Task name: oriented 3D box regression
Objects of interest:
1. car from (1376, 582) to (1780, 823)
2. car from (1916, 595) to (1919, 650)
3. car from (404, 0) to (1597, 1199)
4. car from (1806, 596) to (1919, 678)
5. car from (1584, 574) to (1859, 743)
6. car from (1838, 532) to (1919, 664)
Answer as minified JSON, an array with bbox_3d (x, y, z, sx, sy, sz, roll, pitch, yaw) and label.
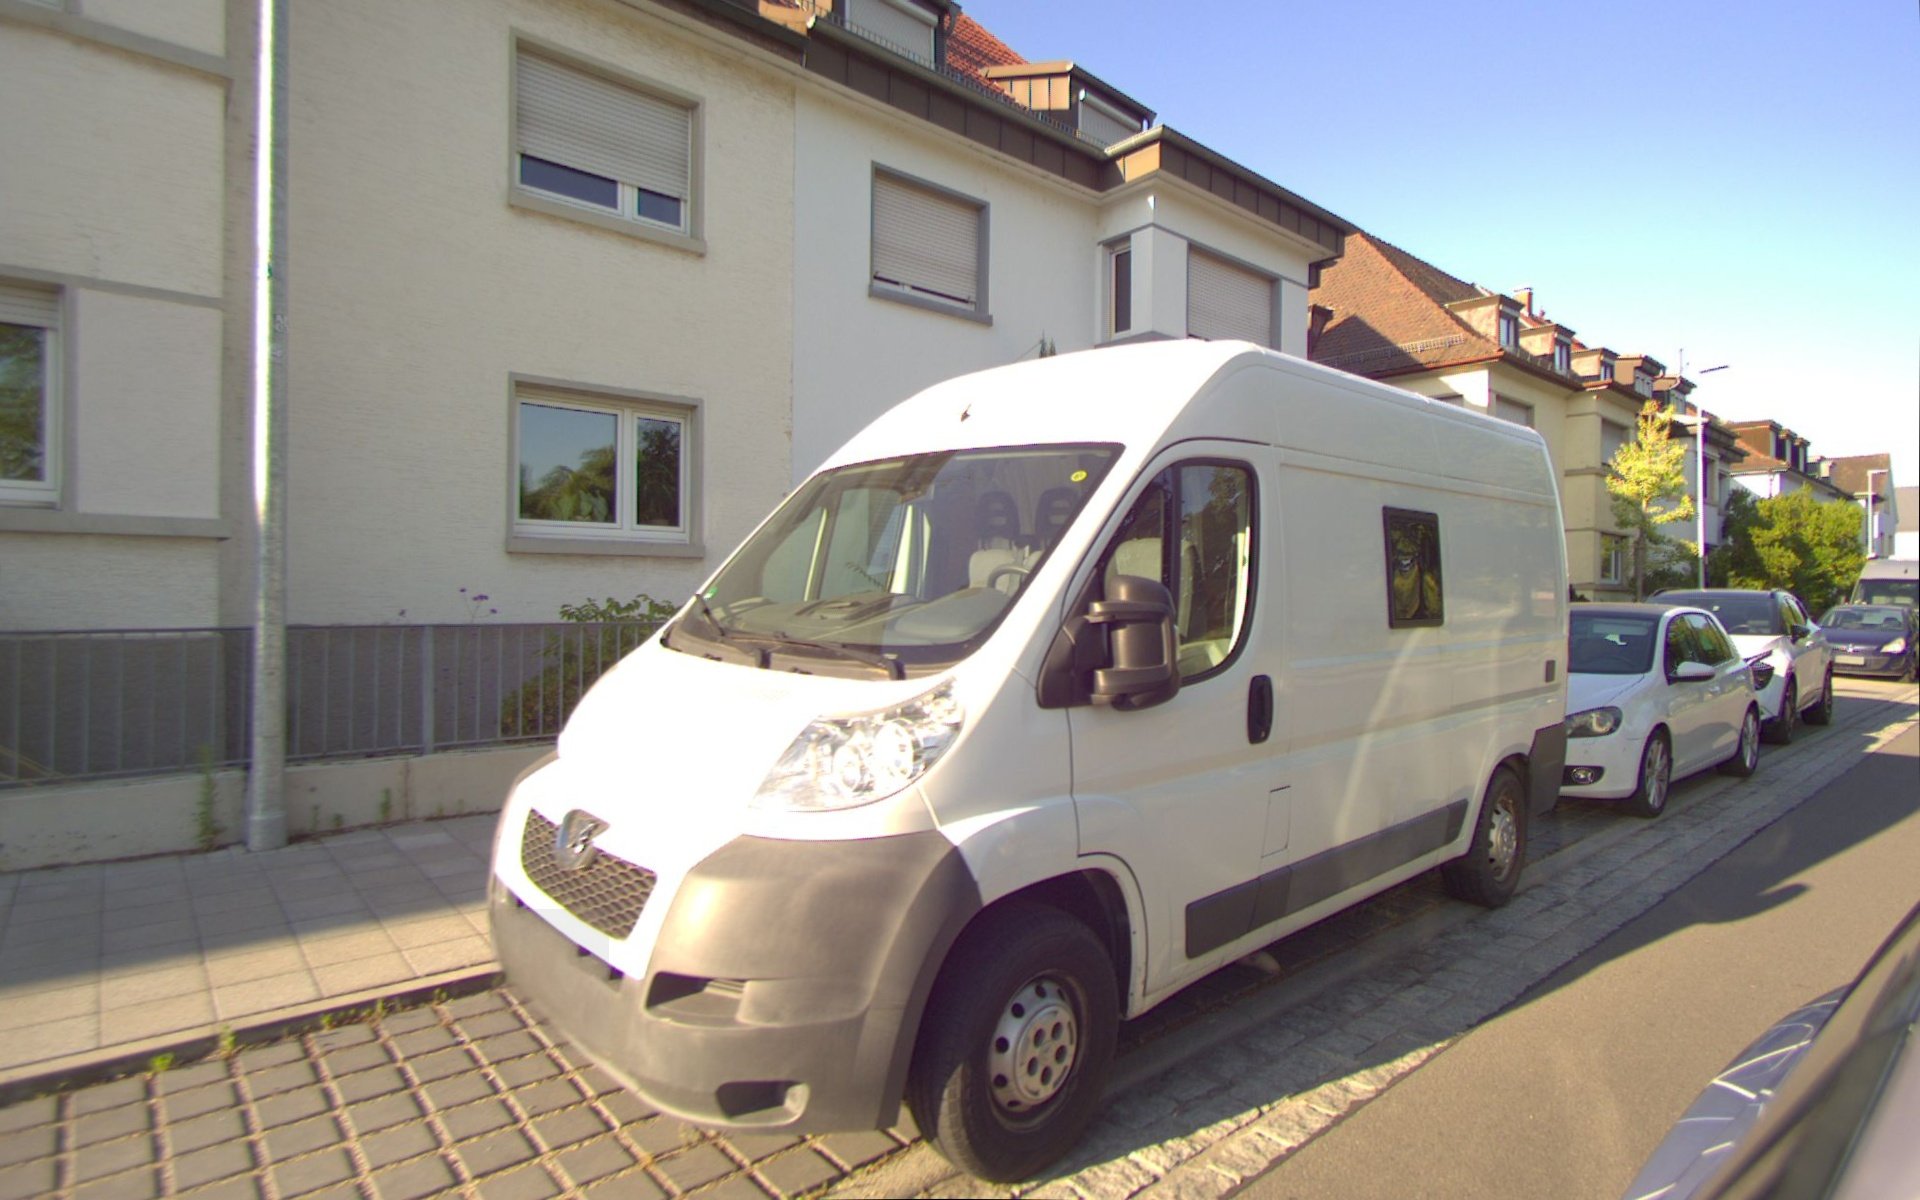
[{"bbox_3d":[5.175,0.631,8.253,4.035,1.501,1.625,0,0,-40],"label":"car"},{"bbox_3d":[27.870,0.618,28.170,3.297,1.518,1.467,0,0,-40],"label":"car"},{"bbox_3d":[0.794,0.140,4.517,5.415,2.550,2.131,0,-1,-43],"label":"car"},{"bbox_3d":[18.607,0.675,20.446,3.933,1.457,1.629,0,2,-40],"label":"car"},{"bbox_3d":[9.206,0.556,12.090,4.402,1.666,1.780,0,1,-41],"label":"car"},{"bbox_3d":[23.085,-0.051,24.334,5.882,2.890,2.132,0,-1,-41],"label":"car"}]
